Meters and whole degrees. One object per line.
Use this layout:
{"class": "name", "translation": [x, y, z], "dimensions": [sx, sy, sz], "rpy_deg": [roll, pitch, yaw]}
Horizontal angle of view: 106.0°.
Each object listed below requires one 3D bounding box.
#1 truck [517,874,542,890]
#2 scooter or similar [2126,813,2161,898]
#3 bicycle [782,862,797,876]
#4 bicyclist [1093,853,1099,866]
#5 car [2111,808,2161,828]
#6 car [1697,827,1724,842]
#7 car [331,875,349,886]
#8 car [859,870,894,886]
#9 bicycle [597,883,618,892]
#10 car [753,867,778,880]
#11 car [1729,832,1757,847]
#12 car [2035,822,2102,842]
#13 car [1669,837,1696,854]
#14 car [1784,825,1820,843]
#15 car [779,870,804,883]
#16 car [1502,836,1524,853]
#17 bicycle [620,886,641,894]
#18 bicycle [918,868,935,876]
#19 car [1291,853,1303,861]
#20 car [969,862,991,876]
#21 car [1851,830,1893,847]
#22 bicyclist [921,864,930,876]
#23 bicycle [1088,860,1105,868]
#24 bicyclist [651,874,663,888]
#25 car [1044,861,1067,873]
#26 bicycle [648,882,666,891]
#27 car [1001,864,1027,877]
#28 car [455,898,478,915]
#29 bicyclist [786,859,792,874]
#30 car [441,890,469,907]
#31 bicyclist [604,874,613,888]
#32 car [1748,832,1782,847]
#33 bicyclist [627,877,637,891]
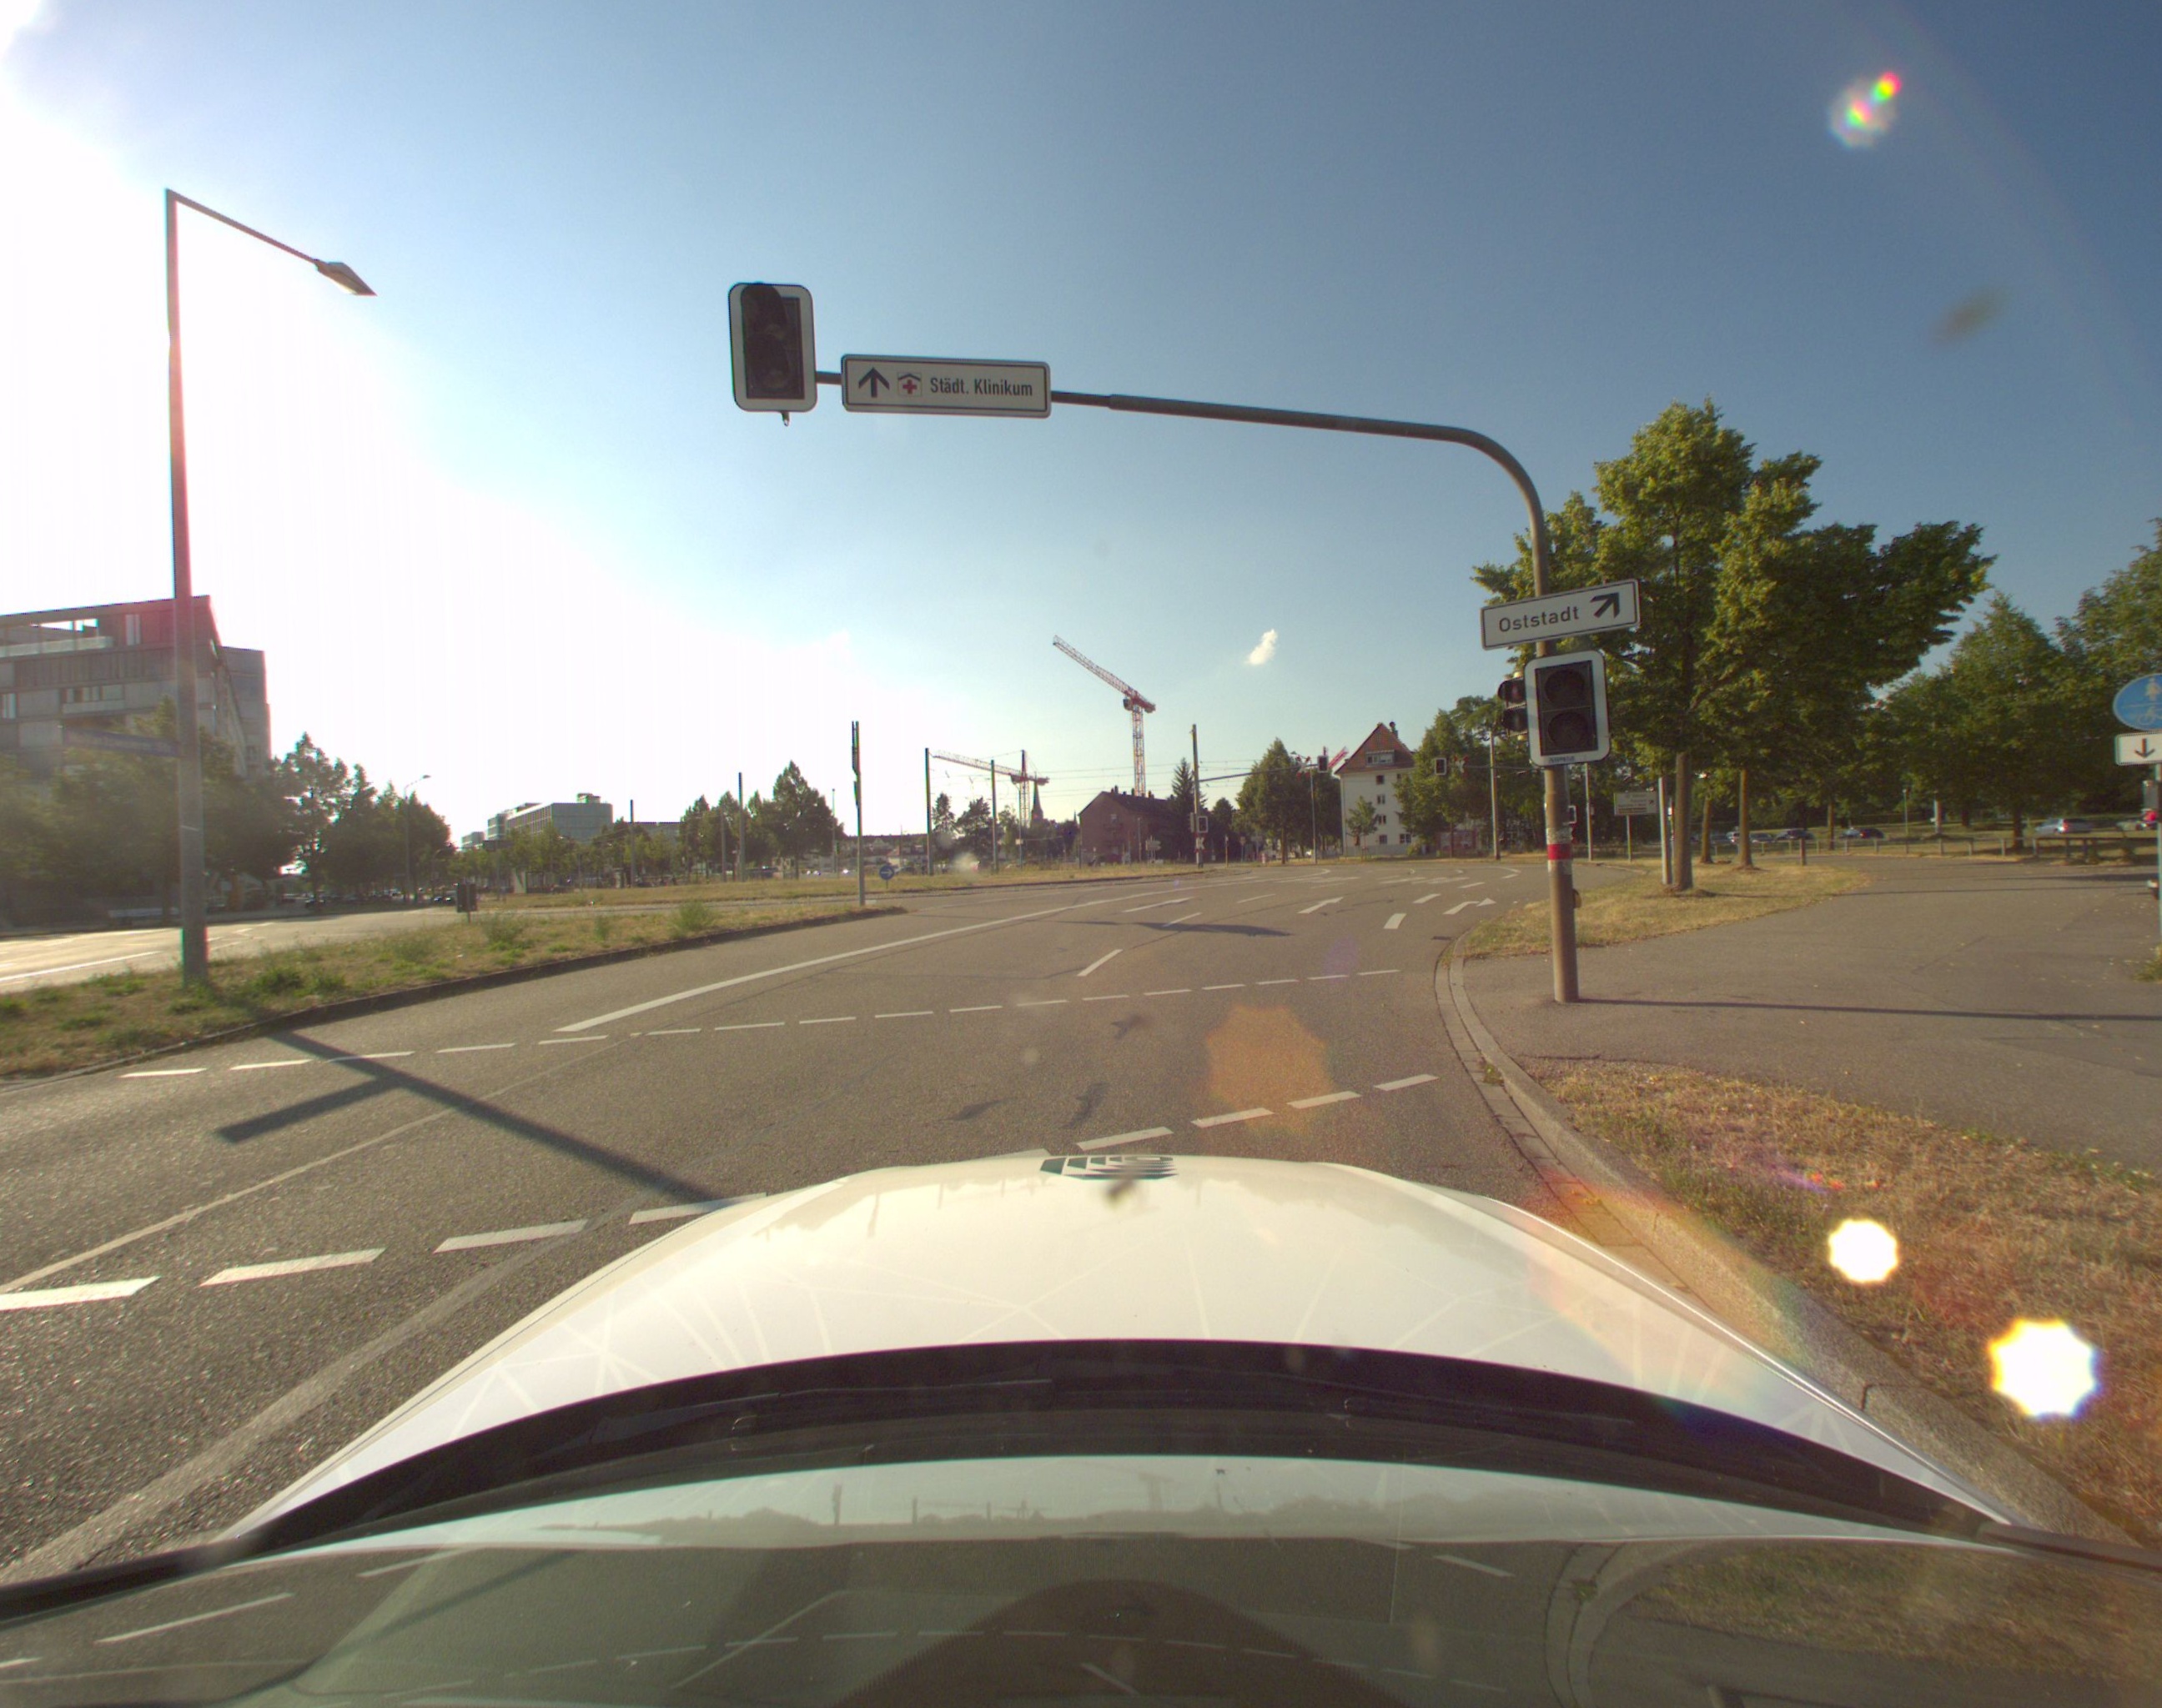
{"class": "truck", "translation": [-120.306, 6.202, 177.654], "dimensions": [3.156, 3.231, 7.085], "rpy_deg": [-2, 0, -44]}
{"class": "scooter or similar", "translation": [15.534, -0.005, 11.640], "dimensions": [1.172, 1.160, 0.340], "rpy_deg": [-4, -3, -23]}
{"class": "bicycle", "translation": [-33.354, 1.696, 93.131], "dimensions": [1.544, 1.473, 0.476], "rpy_deg": [-2, 0, -20]}
{"class": "bicyclist", "translation": [1.783, 0.697, 95.951], "dimensions": [0.621, 1.511, 0.418], "rpy_deg": [-2, 0, -4]}
{"class": "car", "translation": [82.570, -2.811, 63.130], "dimensions": [1.804, 1.403, 4.023], "rpy_deg": [-3, -1, 26]}
{"class": "car", "translation": [64.658, -1.957, 83.690], "dimensions": [1.586, 1.402, 3.993], "rpy_deg": [-3, -1, 30]}
{"class": "car", "translation": [-110.647, 3.921, 121.538], "dimensions": [1.800, 1.556, 3.950], "rpy_deg": [0, -1, -45]}
{"class": "car", "translation": [-26.250, 3.074, 104.520], "dimensions": [4.013, 1.816, 1.981], "rpy_deg": [-2, 0, -30]}
{"class": "bicycle", "translation": [-47.141, 3.334, 81.082], "dimensions": [0.474, 0.744, 1.732], "rpy_deg": [-3, 0, 45]}
{"class": "car", "translation": [-53.303, 3.251, 137.471], "dimensions": [3.948, 2.013, 2.013], "rpy_deg": [-3, 0, 36]}
{"class": "car", "translation": [67.252, -1.485, 82.763], "dimensions": [1.586, 1.402, 3.993], "rpy_deg": [-3, -1, 30]}
{"class": "car", "translation": [78.254, -1.746, 64.601], "dimensions": [1.804, 1.403, 4.023], "rpy_deg": [-3, -1, 26]}
{"class": "car", "translation": [55.902, -0.795, 75.733], "dimensions": [1.586, 1.402, 3.993], "rpy_deg": [-3, -1, 30]}
{"class": "car", "translation": [63.148, -1.732, 71.382], "dimensions": [1.586, 1.402, 3.993], "rpy_deg": [-3, -1, 30]}
{"class": "car", "translation": [-47.092, 3.690, 132.444], "dimensions": [3.948, 2.013, 2.013], "rpy_deg": [-3, 0, 36]}
{"class": "car", "translation": [43.063, -0.931, 81.117], "dimensions": [1.754, 1.618, 3.993], "rpy_deg": [-3, -1, 30]}
{"class": "bicycle", "translation": [-45.145, 3.584, 81.614], "dimensions": [0.474, 0.744, 1.732], "rpy_deg": [-3, 0, 45]}
{"class": "bicycle", "translation": [-18.578, 2.143, 97.889], "dimensions": [1.983, 0.825, 0.429], "rpy_deg": [-2, 0, -4]}
{"class": "car", "translation": [40.737, 0.510, 153.640], "dimensions": [1.442, 1.300, 3.569], "rpy_deg": [-3, 0, 25]}
{"class": "car", "translation": [-14.506, 2.141, 116.968], "dimensions": [1.929, 1.854, 3.966], "rpy_deg": [-2, 0, -26]}
{"class": "car", "translation": [67.194, -1.283, 69.211], "dimensions": [1.586, 1.310, 3.993], "rpy_deg": [-3, -1, 30]}
{"class": "bicyclist", "translation": [-18.658, 1.878, 97.840], "dimensions": [0.895, 1.396, 0.525], "rpy_deg": [-2, 0, -4]}
{"class": "bicycle", "translation": [1.807, 1.184, 95.946], "dimensions": [1.983, 0.918, 0.429], "rpy_deg": [-2, 0, -4]}
{"class": "bicyclist", "translation": [-44.480, 2.848, 85.433], "dimensions": [0.685, 1.357, 0.963], "rpy_deg": [-3, 0, 45]}
{"class": "car", "translation": [-4.675, 2.362, 149.425], "dimensions": [3.776, 2.014, 1.680], "rpy_deg": [-3, -1, 20]}
{"class": "bicycle", "translation": [-44.468, 3.411, 85.394], "dimensions": [1.629, 0.860, 0.538], "rpy_deg": [-2, 0, -44]}
{"class": "car", "translation": [-10.996, 2.691, 133.024], "dimensions": [3.776, 2.014, 1.680], "rpy_deg": [-3, -1, 20]}
{"class": "car", "translation": [-58.566, 4.980, 77.616], "dimensions": [1.493, 1.475, 3.260], "rpy_deg": [-2, 0, -42]}
{"class": "bicyclist", "translation": [-33.397, 1.453, 93.124], "dimensions": [0.608, 1.672, 0.475], "rpy_deg": [-2, -1, -19]}
{"class": "car", "translation": [-63.622, 4.514, 82.744], "dimensions": [2.011, 1.475, 3.952], "rpy_deg": [-2, 0, -42]}
{"class": "bicyclist", "translation": [-47.074, 2.702, 81.175], "dimensions": [0.658, 1.325, 0.512], "rpy_deg": [-2, 0, -45]}
{"class": "car", "translation": [61.685, -1.284, 73.481], "dimensions": [1.586, 1.221, 3.993], "rpy_deg": [-3, -1, 30]}
{"class": "bicyclist", "translation": [-45.075, 3.033, 81.737], "dimensions": [0.658, 1.325, 0.512], "rpy_deg": [-2, 0, -45]}
